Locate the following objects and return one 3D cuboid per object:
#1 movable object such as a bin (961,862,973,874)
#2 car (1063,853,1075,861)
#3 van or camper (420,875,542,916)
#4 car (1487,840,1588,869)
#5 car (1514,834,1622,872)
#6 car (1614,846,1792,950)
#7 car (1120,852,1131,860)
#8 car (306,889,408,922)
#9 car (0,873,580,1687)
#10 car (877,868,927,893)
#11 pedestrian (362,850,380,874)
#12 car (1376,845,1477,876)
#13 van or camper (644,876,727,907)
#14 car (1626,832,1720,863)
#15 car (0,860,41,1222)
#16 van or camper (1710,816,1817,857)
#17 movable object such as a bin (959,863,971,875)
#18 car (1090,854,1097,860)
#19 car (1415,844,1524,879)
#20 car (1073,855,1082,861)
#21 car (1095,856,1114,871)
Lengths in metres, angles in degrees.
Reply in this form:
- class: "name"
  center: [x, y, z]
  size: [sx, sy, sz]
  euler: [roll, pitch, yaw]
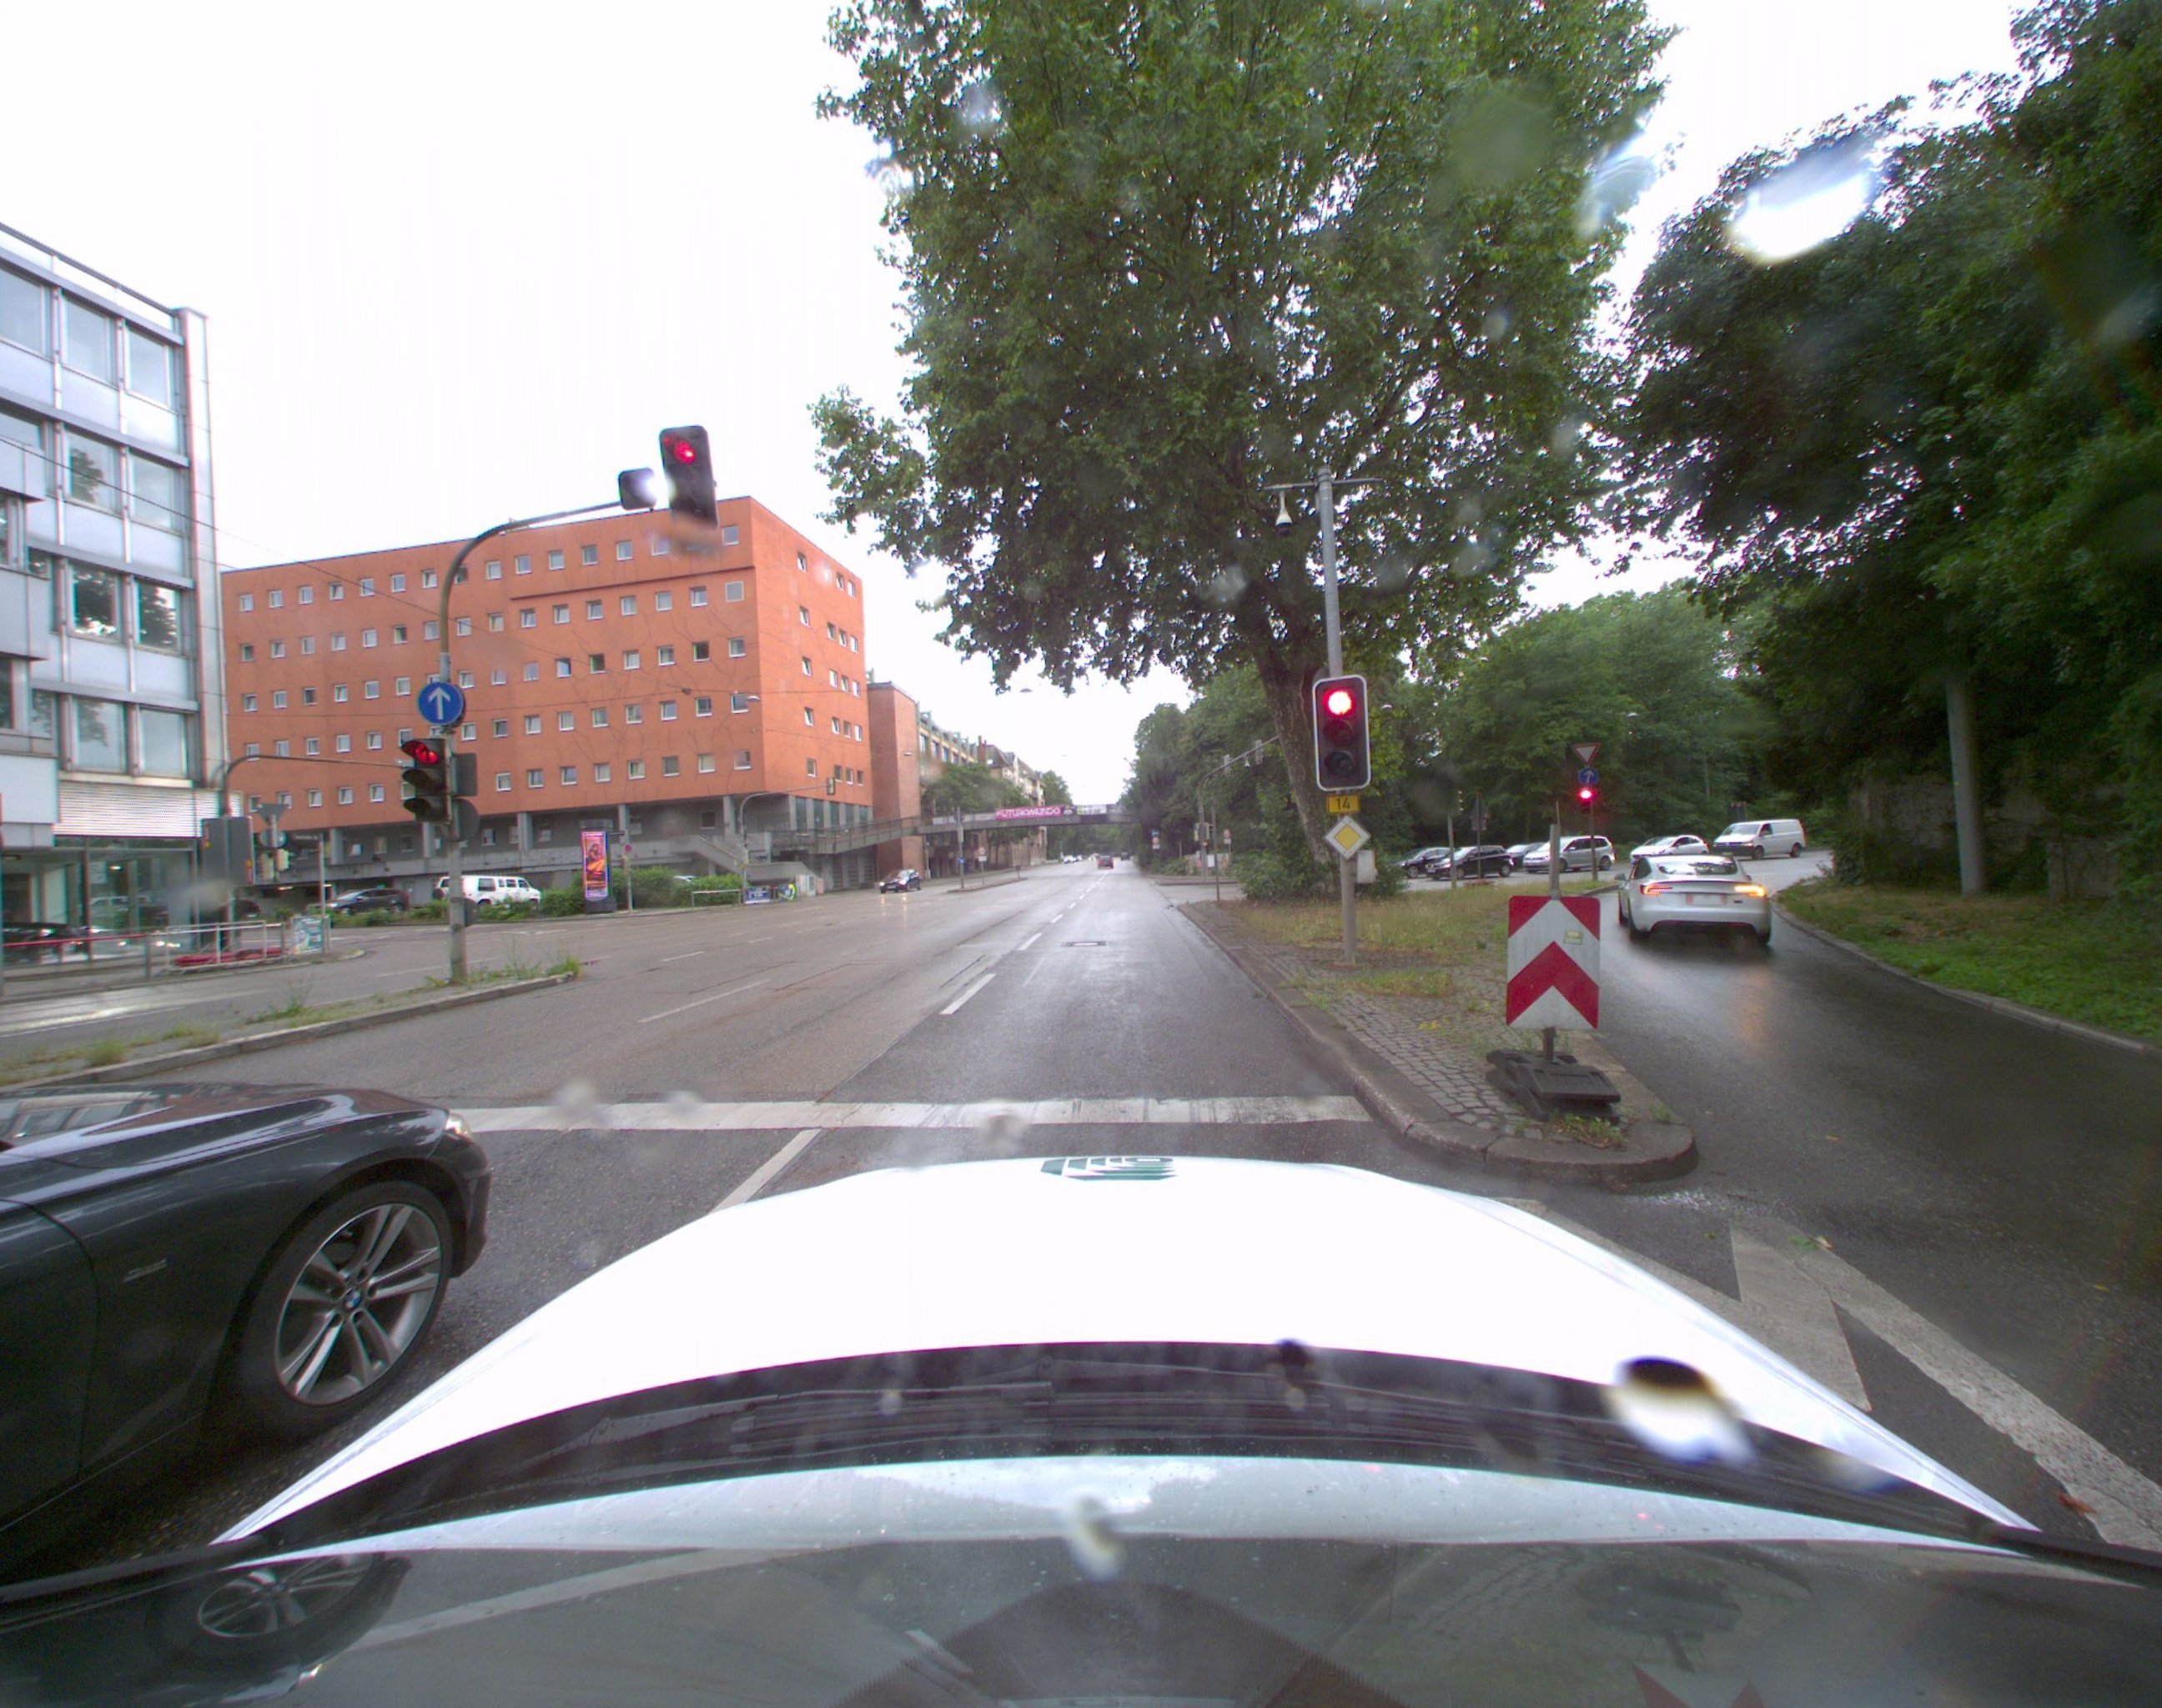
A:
- class: "movable object such as a bin"
  center: [-15.228, 1.911, 109.027]
  size: [1.293, 1.518, 1.215]
  euler: [-3, 0, 3]
- class: "car"
  center: [-2.534, 0.658, 172.064]
  size: [1.881, 1.610, 4.461]
  euler: [-3, -1, 4]
- class: "van or camper"
  center: [-32.843, 2.221, 44.850]
  size: [2.113, 1.977, 5.466]
  euler: [0, -1, 9]
- class: "car"
  center: [23.099, 0.036, 41.248]
  size: [4.438, 1.402, 1.821]
  euler: [0, -1, -14]
- class: "car"
  center: [22.558, -0.045, 37.802]
  size: [4.203, 1.680, 1.898]
  euler: [0, -1, -14]
- class: "car"
  center: [10.756, 0.624, 14.435]
  size: [1.835, 1.448, 4.647]
  euler: [2, 2, 29]
- class: "car"
  center: [8.485, 0.335, 155.465]
  size: [1.835, 1.453, 3.778]
  euler: [0, -1, 2]
- class: "car"
  center: [-40.244, 2.817, 45.402]
  size: [1.699, 1.612, 4.097]
  euler: [0, -1, 9]
- class: "car"
  center: [-2.923, 0.835, 0.880]
  size: [1.769, 1.458, 4.480]
  euler: [-3, -1, 3]
- class: "car"
  center: [-11.209, 1.639, 51.236]
  size: [1.677, 1.419, 4.222]
  euler: [-4, -2, 7]
- class: "pedestrian"
  center: [-55.645, 0.648, 63.829]
  size: [0.757, 1.839, 0.727]
  euler: [-1, -1, 11]
- class: "car"
  center: [16.855, 0.314, 39.796]
  size: [4.205, 1.440, 1.941]
  euler: [0, -1, -14]
- class: "van or camper"
  center: [-23.563, 2.226, 48.628]
  size: [3.965, 1.627, 1.918]
  euler: [-3, 0, 8]
- class: "car"
  center: [28.846, -0.297, 39.707]
  size: [3.857, 1.461, 1.650]
  euler: [0, -1, -14]
- class: "car"
  center: [-6.000, 0.845, 1.689]
  size: [1.801, 1.656, 4.449]
  euler: [0, -1, 4]
- class: "van or camper"
  center: [34.868, -0.878, 41.619]
  size: [4.863, 1.947, 1.895]
  euler: [-1, -1, -19]
- class: "movable object such as a bin"
  center: [-15.327, 1.934, 107.568]
  size: [1.277, 1.518, 1.274]
  euler: [-3, 0, 3]
- class: "car"
  center: [3.412, 0.831, 223.062]
  size: [1.676, 1.436, 3.865]
  euler: [-3, -1, 3]
- class: "car"
  center: [17.163, 0.327, 36.019]
  size: [4.192, 1.460, 1.784]
  euler: [0, -1, -14]
- class: "car"
  center: [-0.813, 0.929, 197.434]
  size: [1.701, 1.464, 4.047]
  euler: [-3, -1, 5]
- class: "car"
  center: [2.730, 1.115, 94.442]
  size: [1.998, 1.643, 4.376]
  euler: [-3, 0, 0]
